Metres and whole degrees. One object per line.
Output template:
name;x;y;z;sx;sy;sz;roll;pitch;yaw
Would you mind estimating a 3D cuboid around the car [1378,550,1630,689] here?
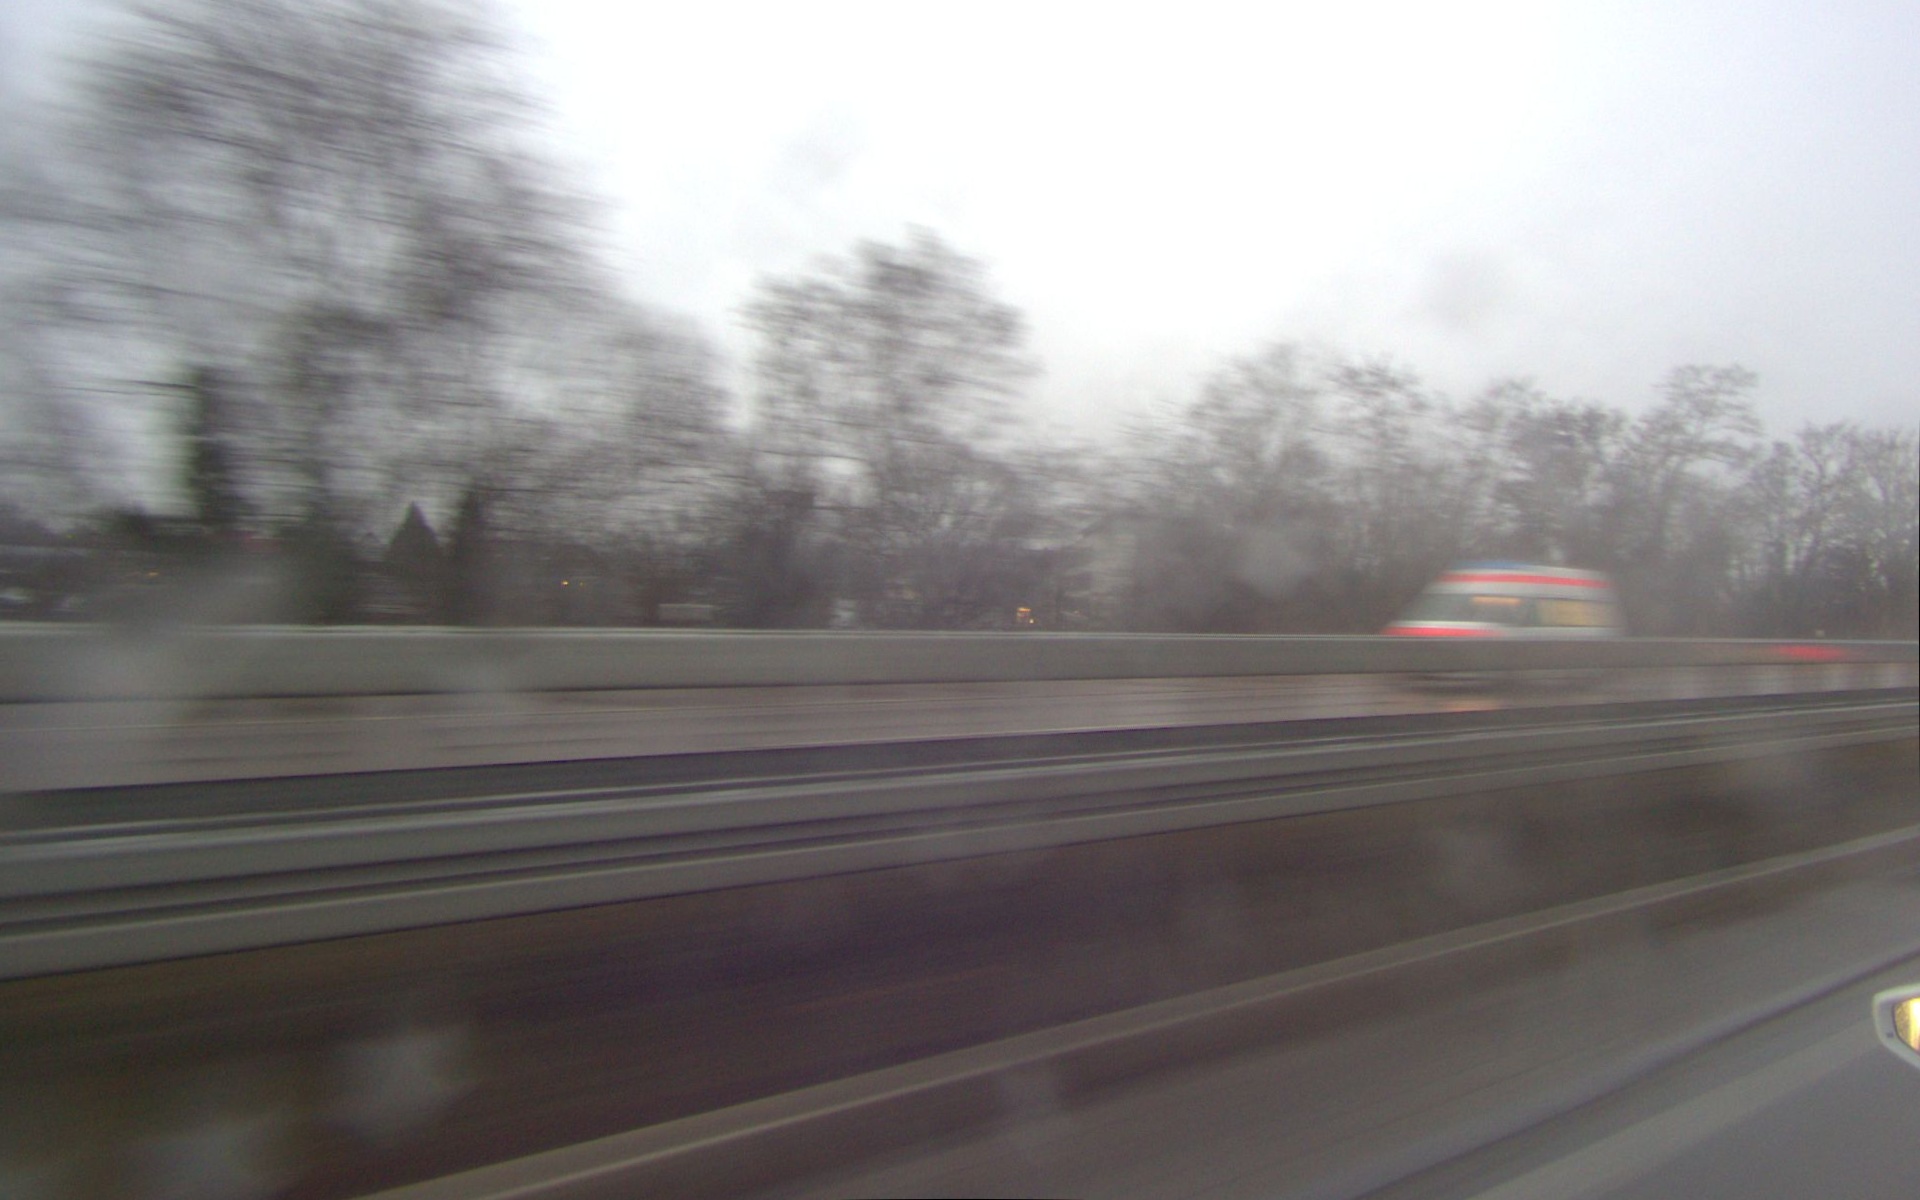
car;10.879;0.390;19.978;5.352;2.469;1.837;1;0;-30
